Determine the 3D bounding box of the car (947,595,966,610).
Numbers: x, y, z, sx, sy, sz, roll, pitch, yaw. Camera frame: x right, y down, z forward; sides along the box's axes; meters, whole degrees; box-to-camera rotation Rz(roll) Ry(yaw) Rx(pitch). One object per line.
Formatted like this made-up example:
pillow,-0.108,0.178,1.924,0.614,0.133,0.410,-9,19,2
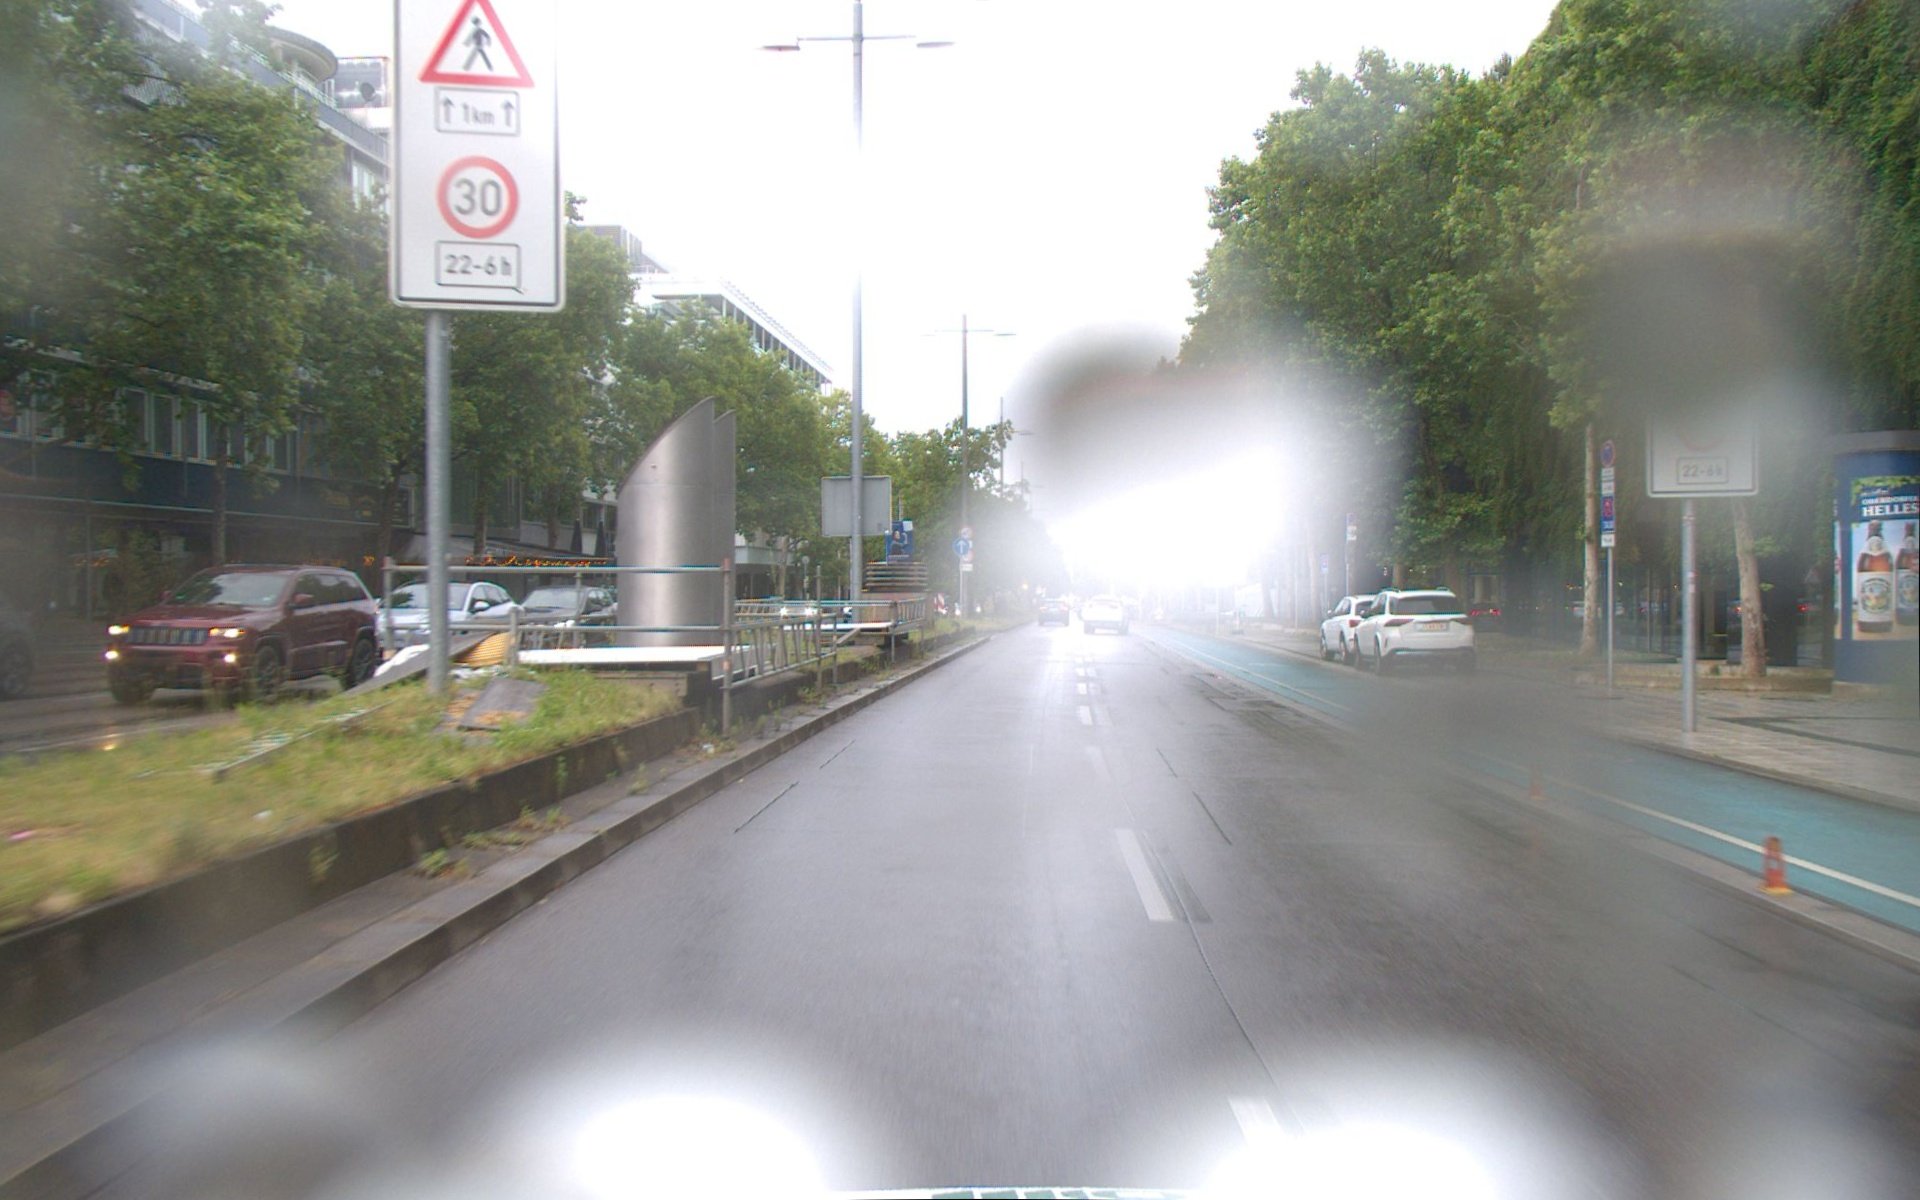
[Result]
car,-0.334,0.267,174.550,1.805,1.454,3.645,0,1,4

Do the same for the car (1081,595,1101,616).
car,10.985,0.461,138.911,1.586,1.695,4.002,0,0,3

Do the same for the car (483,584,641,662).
car,-8.695,0.447,36.553,1.873,1.579,4.545,0,1,7

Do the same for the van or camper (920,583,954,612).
van or camper,-1.593,-0.176,116.364,1.952,1.947,5.254,0,1,3

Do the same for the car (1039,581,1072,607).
car,5.720,-0.391,98.973,1.878,1.517,4.002,0,0,3

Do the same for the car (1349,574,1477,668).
car,9.727,0.387,35.901,1.804,1.870,5.097,-1,1,5

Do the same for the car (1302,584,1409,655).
car,9.964,0.436,41.989,1.805,1.661,4.789,0,1,3

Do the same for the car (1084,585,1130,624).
car,6.622,0.181,74.884,1.952,1.684,4.891,0,1,3

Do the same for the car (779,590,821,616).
car,-9.285,0.151,96.272,1.926,1.433,4.957,0,1,1

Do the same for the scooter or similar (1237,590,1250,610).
scooter or similar,17.731,0.022,103.433,0.375,1.249,1.073,0,0,39

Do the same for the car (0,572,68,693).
car,-12.902,0.417,19.858,1.683,1.517,4.572,0,1,4

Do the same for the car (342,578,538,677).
car,-9.208,0.423,29.723,1.698,1.601,4.834,0,1,4

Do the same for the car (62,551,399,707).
car,-9.374,0.300,21.808,1.797,1.797,5.112,0,1,5
